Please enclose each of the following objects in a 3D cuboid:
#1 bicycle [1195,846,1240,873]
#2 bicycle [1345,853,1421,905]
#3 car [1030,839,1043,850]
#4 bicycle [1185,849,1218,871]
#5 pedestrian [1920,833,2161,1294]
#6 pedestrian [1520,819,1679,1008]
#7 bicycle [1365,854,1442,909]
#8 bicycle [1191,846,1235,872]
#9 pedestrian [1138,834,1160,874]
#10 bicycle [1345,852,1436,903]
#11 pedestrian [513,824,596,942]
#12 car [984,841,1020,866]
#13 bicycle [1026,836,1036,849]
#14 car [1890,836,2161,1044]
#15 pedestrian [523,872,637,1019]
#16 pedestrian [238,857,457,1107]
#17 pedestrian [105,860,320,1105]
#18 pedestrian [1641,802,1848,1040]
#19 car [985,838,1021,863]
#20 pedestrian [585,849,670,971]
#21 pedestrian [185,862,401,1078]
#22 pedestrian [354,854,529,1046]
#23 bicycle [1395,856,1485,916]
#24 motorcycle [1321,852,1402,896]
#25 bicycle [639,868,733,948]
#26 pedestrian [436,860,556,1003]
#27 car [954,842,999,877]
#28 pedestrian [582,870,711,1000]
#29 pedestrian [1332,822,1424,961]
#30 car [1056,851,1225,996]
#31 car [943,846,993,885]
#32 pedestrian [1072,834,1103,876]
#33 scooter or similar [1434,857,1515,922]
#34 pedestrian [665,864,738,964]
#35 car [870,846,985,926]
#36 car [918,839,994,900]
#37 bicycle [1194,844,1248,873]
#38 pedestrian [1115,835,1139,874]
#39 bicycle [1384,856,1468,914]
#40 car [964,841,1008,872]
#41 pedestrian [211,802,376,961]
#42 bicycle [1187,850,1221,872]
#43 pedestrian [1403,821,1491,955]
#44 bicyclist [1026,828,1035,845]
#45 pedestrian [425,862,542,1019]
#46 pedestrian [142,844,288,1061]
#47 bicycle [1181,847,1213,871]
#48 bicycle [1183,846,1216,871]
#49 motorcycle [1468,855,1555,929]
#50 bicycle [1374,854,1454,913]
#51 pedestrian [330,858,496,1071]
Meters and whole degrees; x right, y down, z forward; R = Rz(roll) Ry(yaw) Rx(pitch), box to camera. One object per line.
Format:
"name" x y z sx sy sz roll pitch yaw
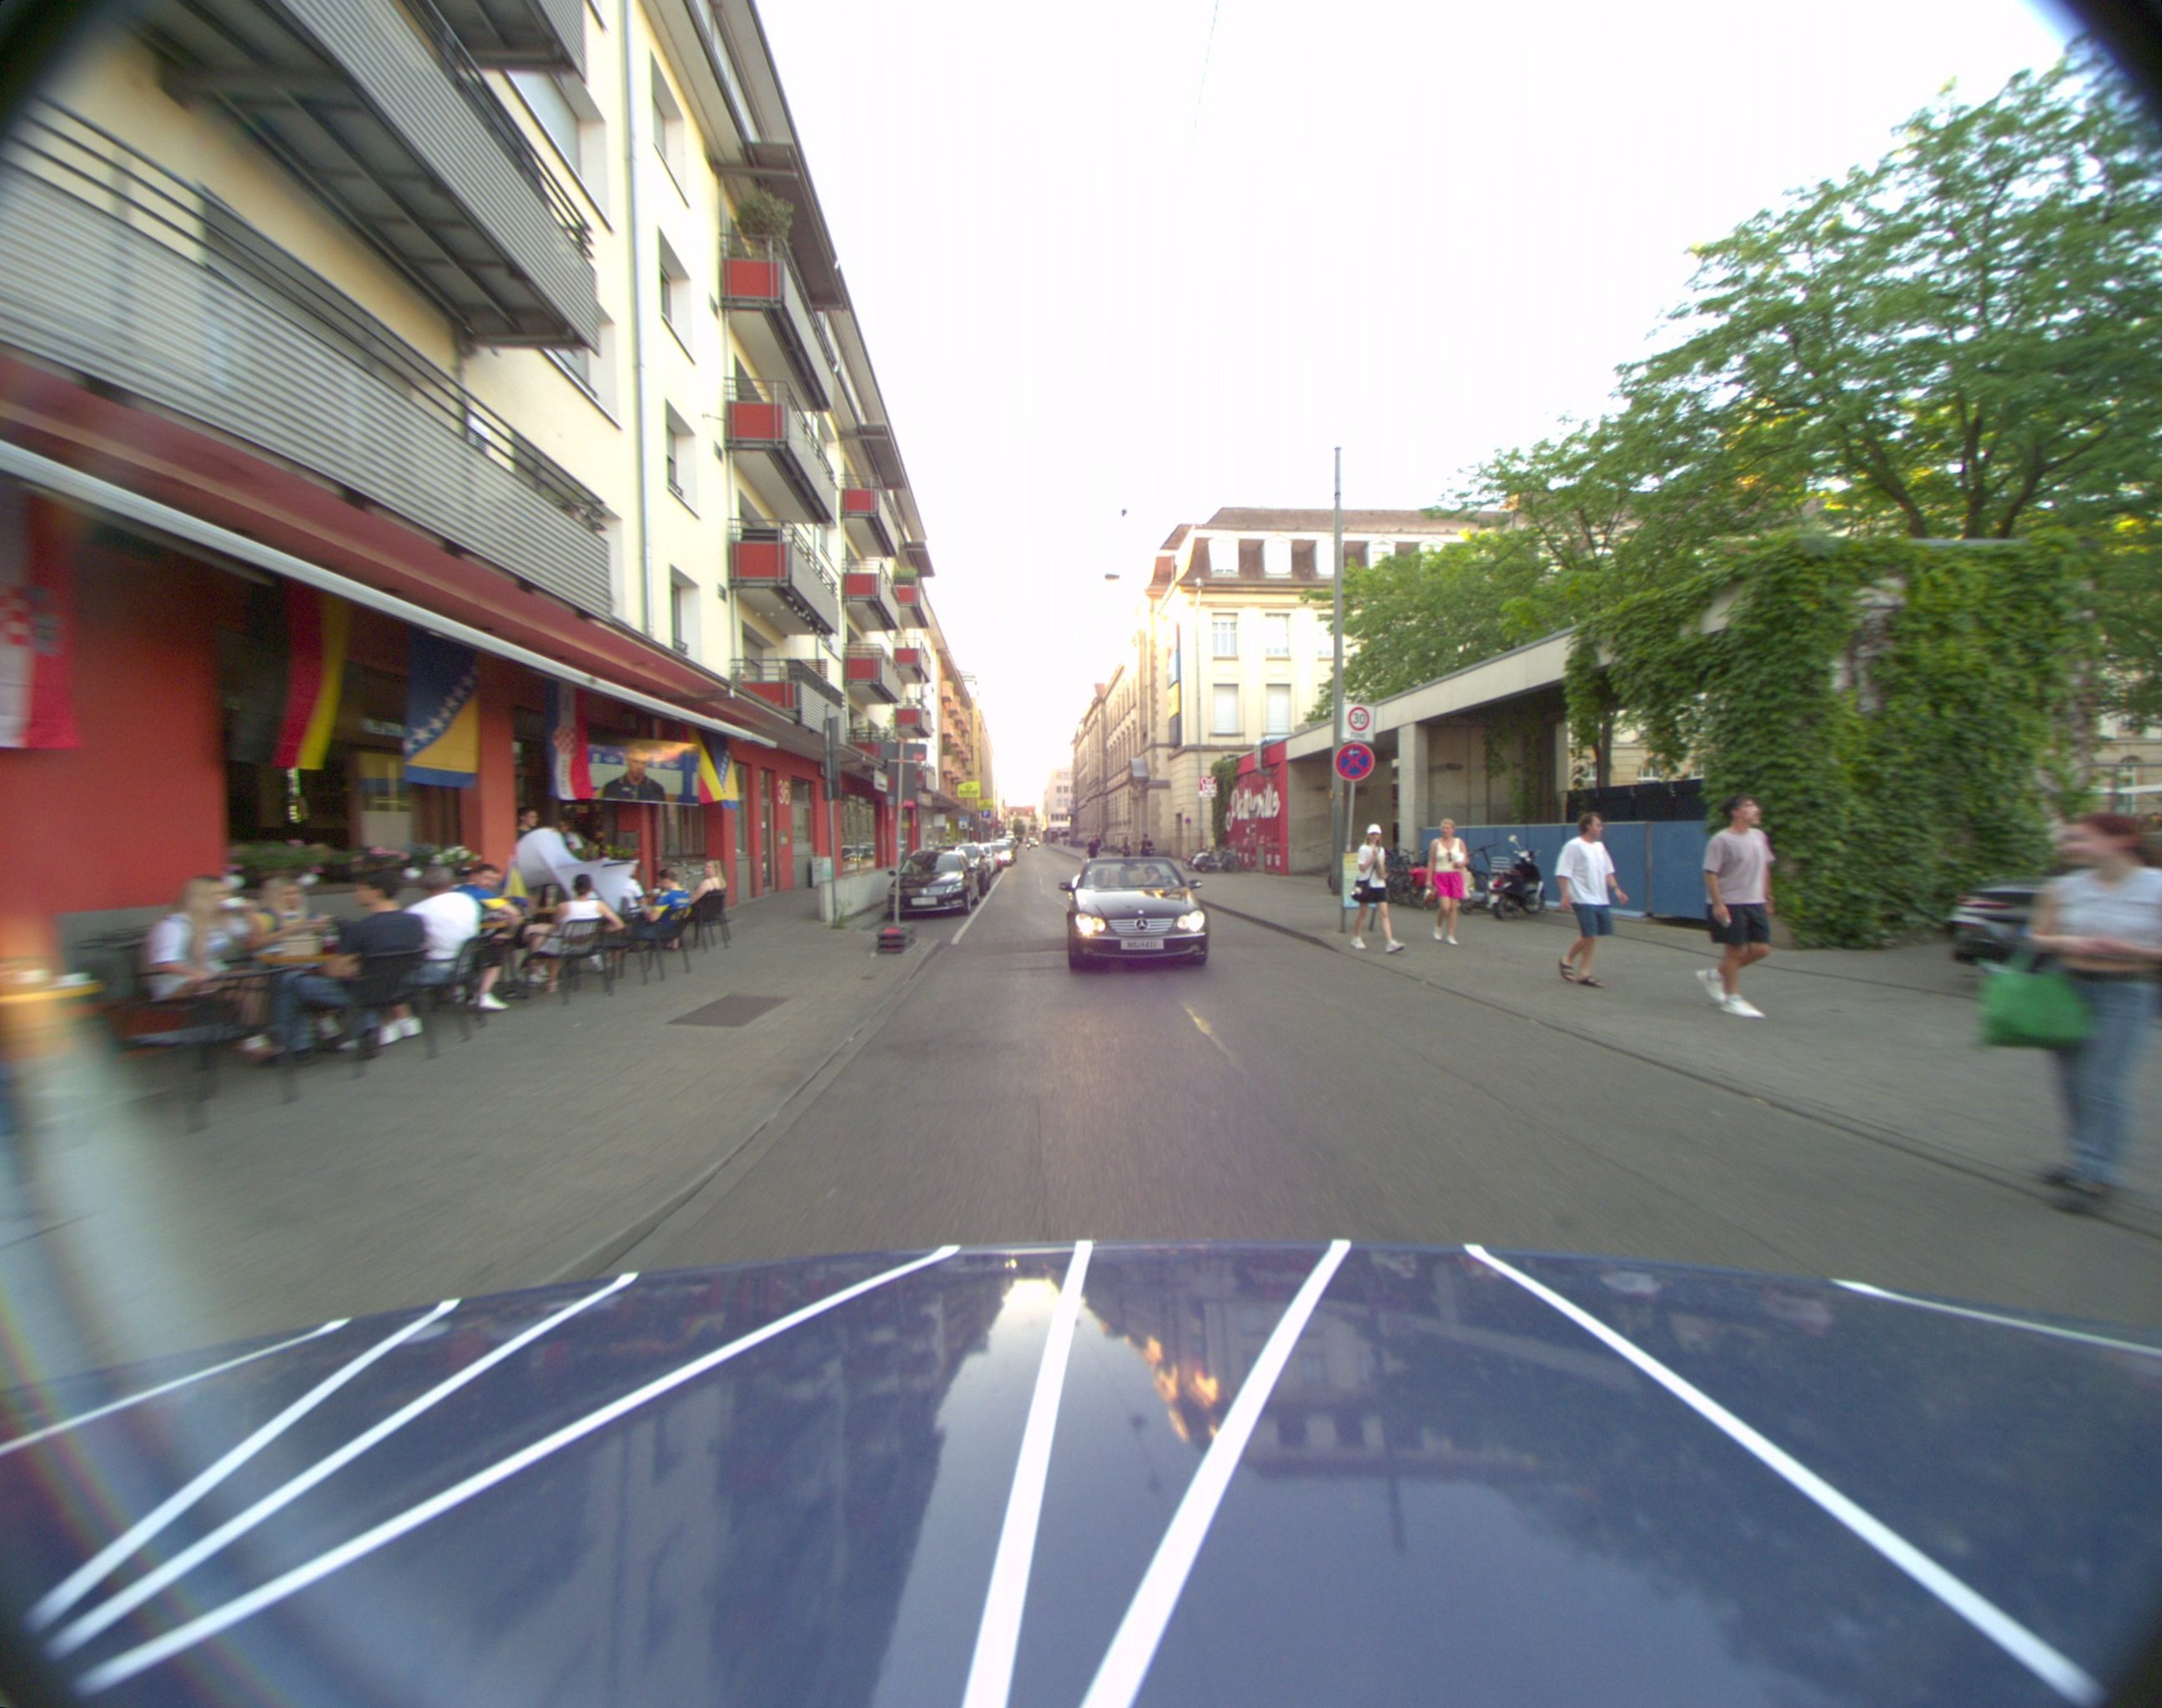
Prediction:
"bicycle" 5.934 0.234 33.101 1.844 1.077 0.354 -2 2 2
"bicycle" 6.776 0.559 17.082 1.496 1.082 0.436 -2 2 3
"car" -8.039 -1.771 138.043 1.998 2.002 3.999 -1 2 0
"bicycle" 5.689 0.272 35.777 1.501 0.973 0.312 -3 2 -12
"pedestrian" 4.122 0.761 3.028 0.880 1.659 0.716 -1 2 32
"pedestrian" 5.249 0.565 7.753 0.984 1.784 0.889 -2 2 -2
"bicycle" 6.895 0.586 16.247 1.497 1.082 0.410 -3 2 -7
"bicycle" 5.831 0.226 33.548 1.844 1.077 0.354 -2 2 2
"pedestrian" 2.985 -0.026 33.424 0.833 1.717 0.920 -2 2 -2
"bicycle" 7.172 0.531 17.624 1.872 1.081 0.550 -2 2 -2
"pedestrian" -7.925 0.423 11.465 0.718 1.711 0.668 -2 2 -5
"car" -4.945 -0.069 48.102 1.898 1.468 4.299 -2 1 -2
"bicycle" -6.166 -1.414 93.896 1.038 1.514 2.821 -1 2 1
"car" 10.094 0.599 6.606 4.450 1.423 2.104 -3 2 -10
"pedestrian" -4.853 0.859 7.405 0.655 1.337 0.749 1 1 -7
"pedestrian" -4.855 0.803 5.087 0.714 1.527 0.759 2 1 -8
"pedestrian" -5.797 0.818 5.118 0.675 1.527 0.654 1 1 -6
"pedestrian" 5.650 0.526 6.535 0.984 1.873 0.889 -2 2 -2
"car" -5.469 -0.282 53.804 1.998 1.607 4.366 -2 1 1
"pedestrian" -6.077 0.721 10.230 0.854 1.527 0.713 -3 2 -26
"pedestrian" -5.958 0.829 5.805 0.770 1.495 0.782 -1 2 -6
"pedestrian" -5.518 0.791 6.609 0.853 1.527 0.679 -3 2 -7
"bicycle" 6.960 0.607 14.761 1.497 1.082 0.547 -3 2 -7
"motorcycle" 7.044 0.508 19.097 1.824 1.063 0.534 -2 2 25
"bicycle" -6.332 0.822 12.305 0.550 1.081 2.004 -2 1 -4
"pedestrian" -6.163 0.792 8.041 0.714 1.413 0.601 -2 2 -5
"car" -4.885 0.204 35.990 1.768 1.468 3.945 -2 1 -3
"pedestrian" -4.809 0.860 8.461 0.876 1.298 0.854 1 3 16
"pedestrian" 4.014 0.481 10.322 0.851 1.784 0.868 -2 2 -2
"car" 0.564 0.729 10.418 1.809 1.400 4.614 0 2 -2
"car" -4.479 0.410 30.626 1.753 1.395 3.964 -2 1 -6
"pedestrian" 0.297 0.045 34.061 1.009 1.817 0.944 -3 2 -28
"scooter or similar" 7.184 0.631 13.848 1.499 1.082 0.410 -3 2 -21
"pedestrian" -5.288 0.806 10.617 0.854 1.271 0.712 -1 4 -26
"car" -3.490 0.652 18.192 1.879 1.543 4.628 -2 1 -2
"car" -3.858 0.419 24.096 1.884 1.690 4.135 -2 1 -3
"bicycle" 6.021 0.200 32.737 2.180 1.149 0.445 -2 2 2
"pedestrian" 2.074 0.030 34.136 0.921 1.717 0.702 -2 2 -9
"bicycle" 6.900 0.611 15.224 1.497 1.063 0.442 -3 2 -7
"car" -4.997 0.062 40.418 1.867 1.468 4.392 -2 1 -2
"pedestrian" -10.651 0.333 10.305 1.150 2.002 1.152 -1 2 25
"bicycle" 5.733 0.305 35.470 1.501 0.950 0.312 -3 2 -12
"pedestrian" 5.080 0.451 10.588 0.812 1.784 0.736 -2 2 -2
"bicyclist" -6.259 -2.135 93.765 1.045 2.002 1.182 -1 2 -2
"pedestrian" -5.679 0.800 7.253 0.667 1.426 0.560 1 1 -7
"pedestrian" -7.405 0.809 6.524 0.538 1.767 0.521 -2 2 -7
"bicycle" 5.567 0.238 36.434 1.501 1.070 0.312 -3 2 -12
"bicycle" 5.607 0.213 36.090 1.501 1.134 0.312 -3 2 -12
"motorcycle" 7.420 0.616 13.062 1.832 1.120 0.535 -3 2 -35
"bicycle" 6.839 0.596 15.618 1.497 1.105 0.410 -3 2 -7
"pedestrian" -5.094 0.807 5.840 0.651 1.518 0.699 2 1 -8
